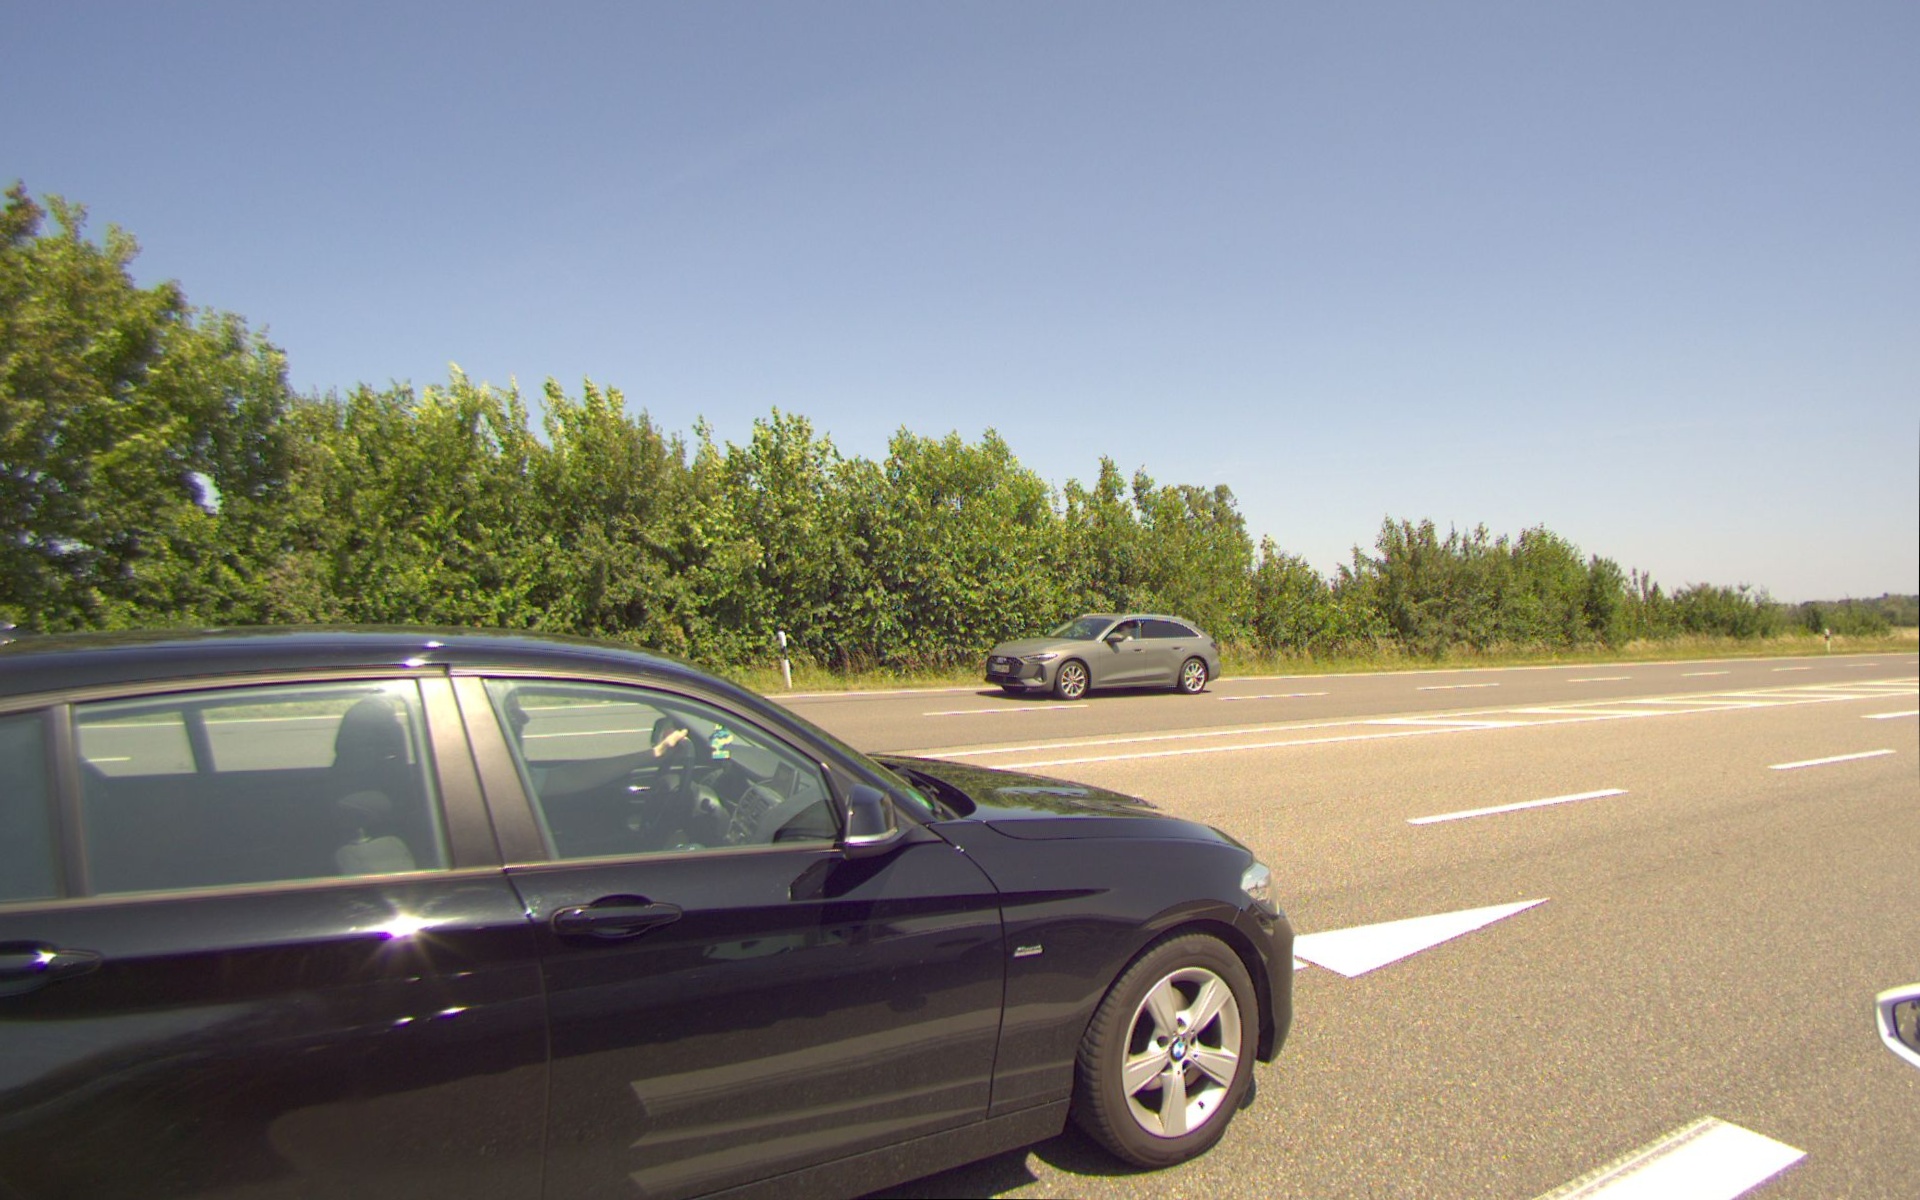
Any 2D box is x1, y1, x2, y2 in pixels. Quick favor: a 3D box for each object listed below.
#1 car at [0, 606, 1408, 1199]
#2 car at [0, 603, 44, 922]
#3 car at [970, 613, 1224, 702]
[{"bbox_3d":[-0.958,0.764,2.712,4.329,1.450,1.775,1,0,-30],"label":"car"},{"bbox_3d":[-6.190,0.721,3.229,4.514,1.440,1.740,1,0,-32],"label":"car"},{"bbox_3d":[2.562,0.998,18.362,4.482,1.416,1.867,1,-1,-33],"label":"car"}]
